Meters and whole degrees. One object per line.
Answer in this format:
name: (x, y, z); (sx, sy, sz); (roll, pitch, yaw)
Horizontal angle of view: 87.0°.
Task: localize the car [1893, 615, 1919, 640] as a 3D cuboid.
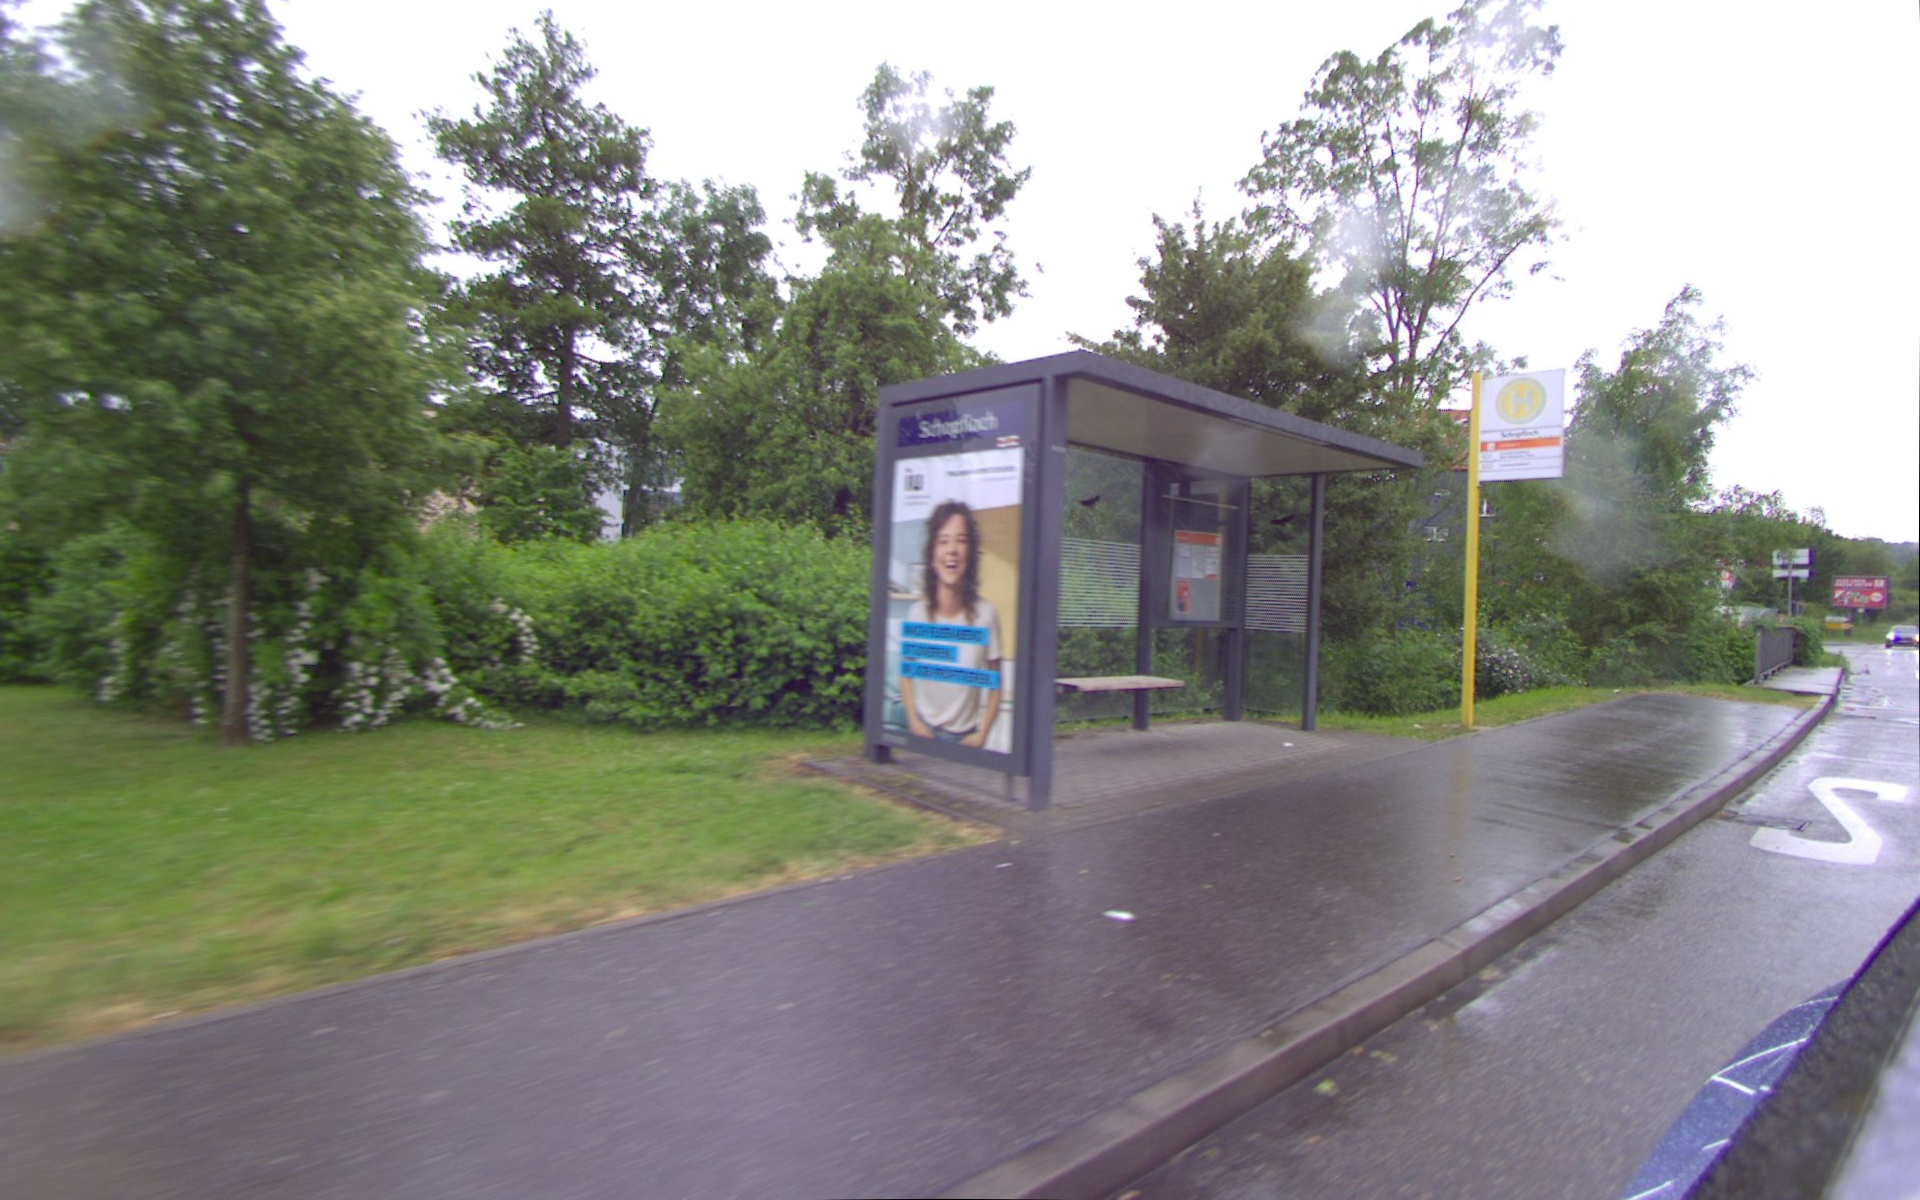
car: (61.305, 1.784, 65.027); (1.852, 1.508, 4.053); (2, 0, 45)
